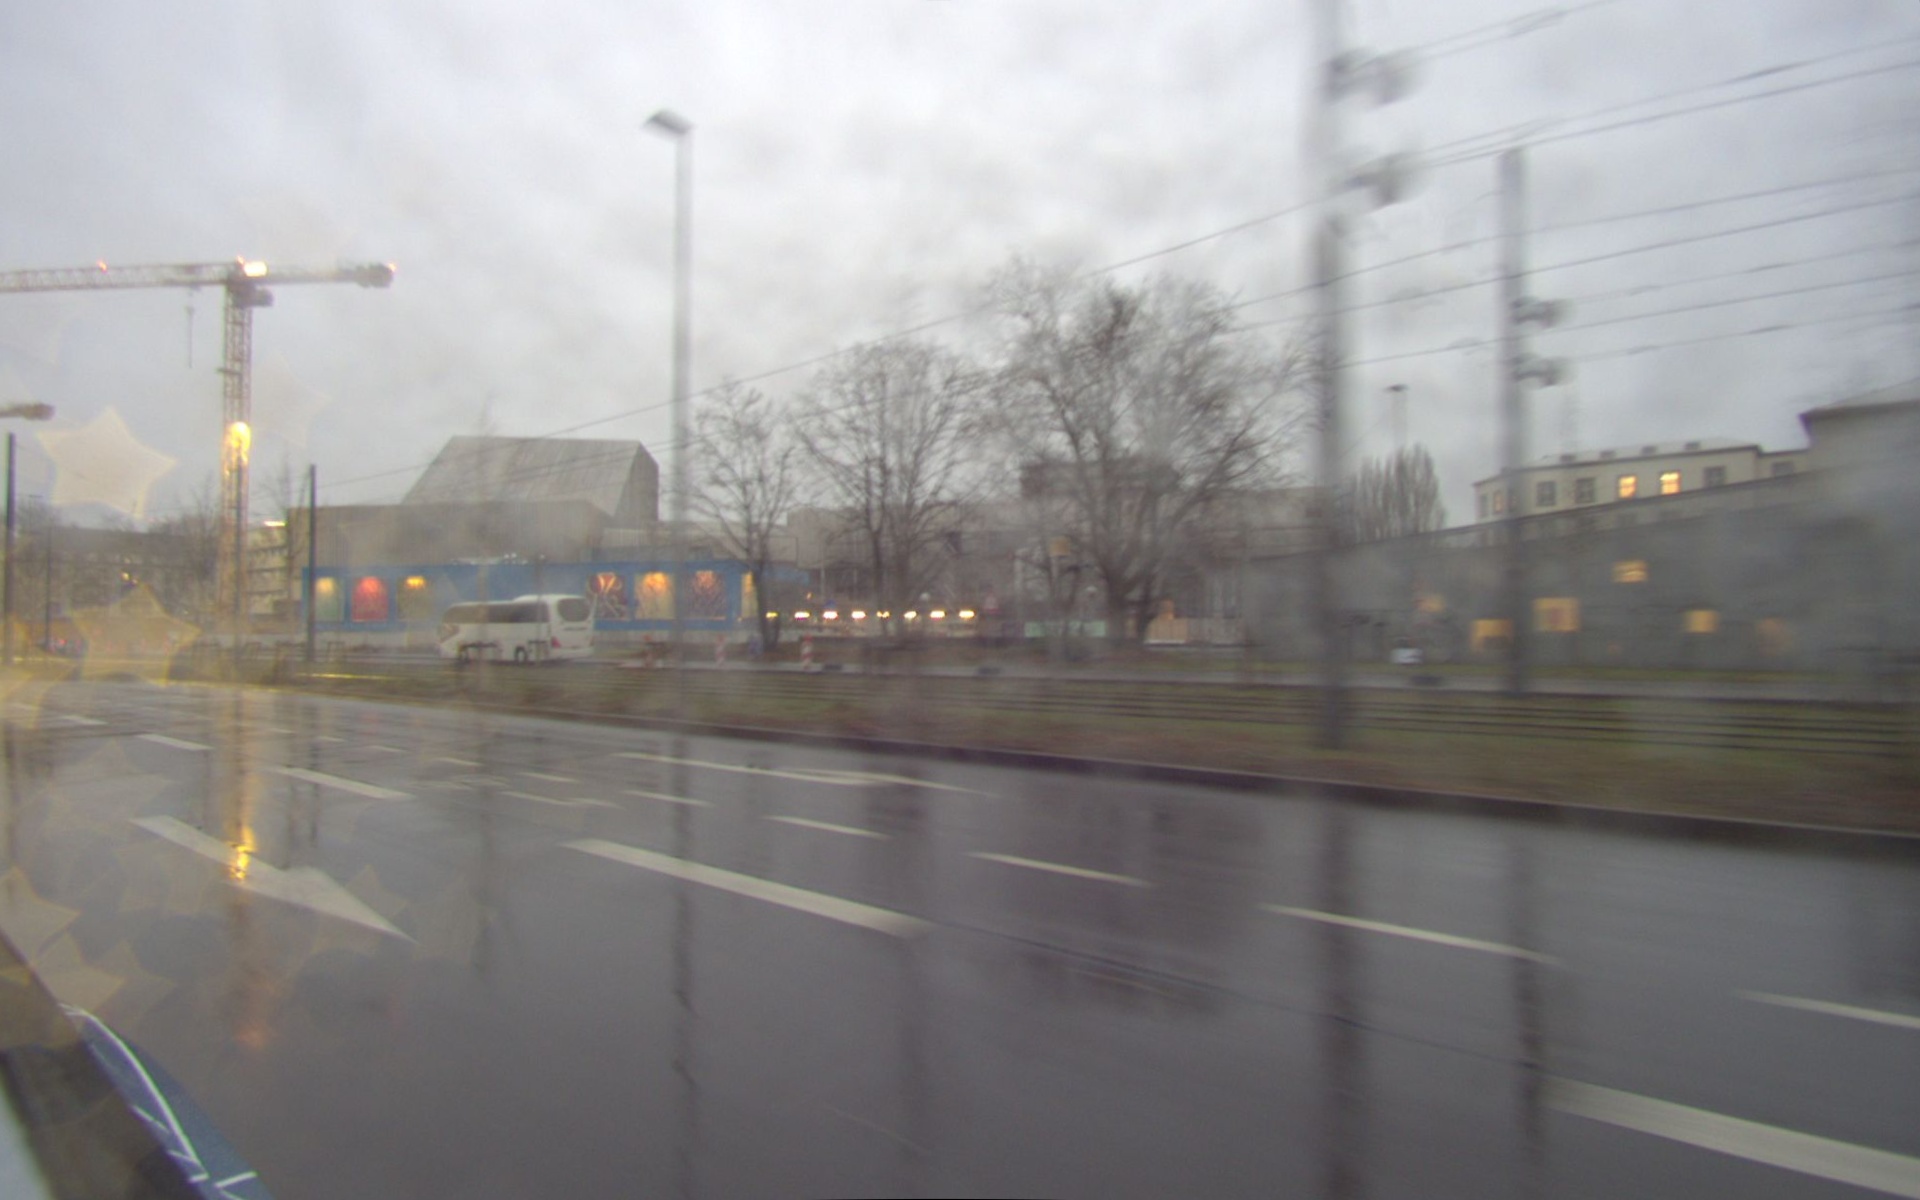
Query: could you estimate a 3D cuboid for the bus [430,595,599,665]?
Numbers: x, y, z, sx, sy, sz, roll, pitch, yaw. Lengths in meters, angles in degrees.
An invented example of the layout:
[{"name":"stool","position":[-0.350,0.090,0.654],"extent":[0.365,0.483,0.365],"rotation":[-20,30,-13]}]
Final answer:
[{"name":"bus","position":[-25.023,1.710,56.420],"extent":[12.280,3.605,2.782],"rotation":[-2,-2,36]}]
